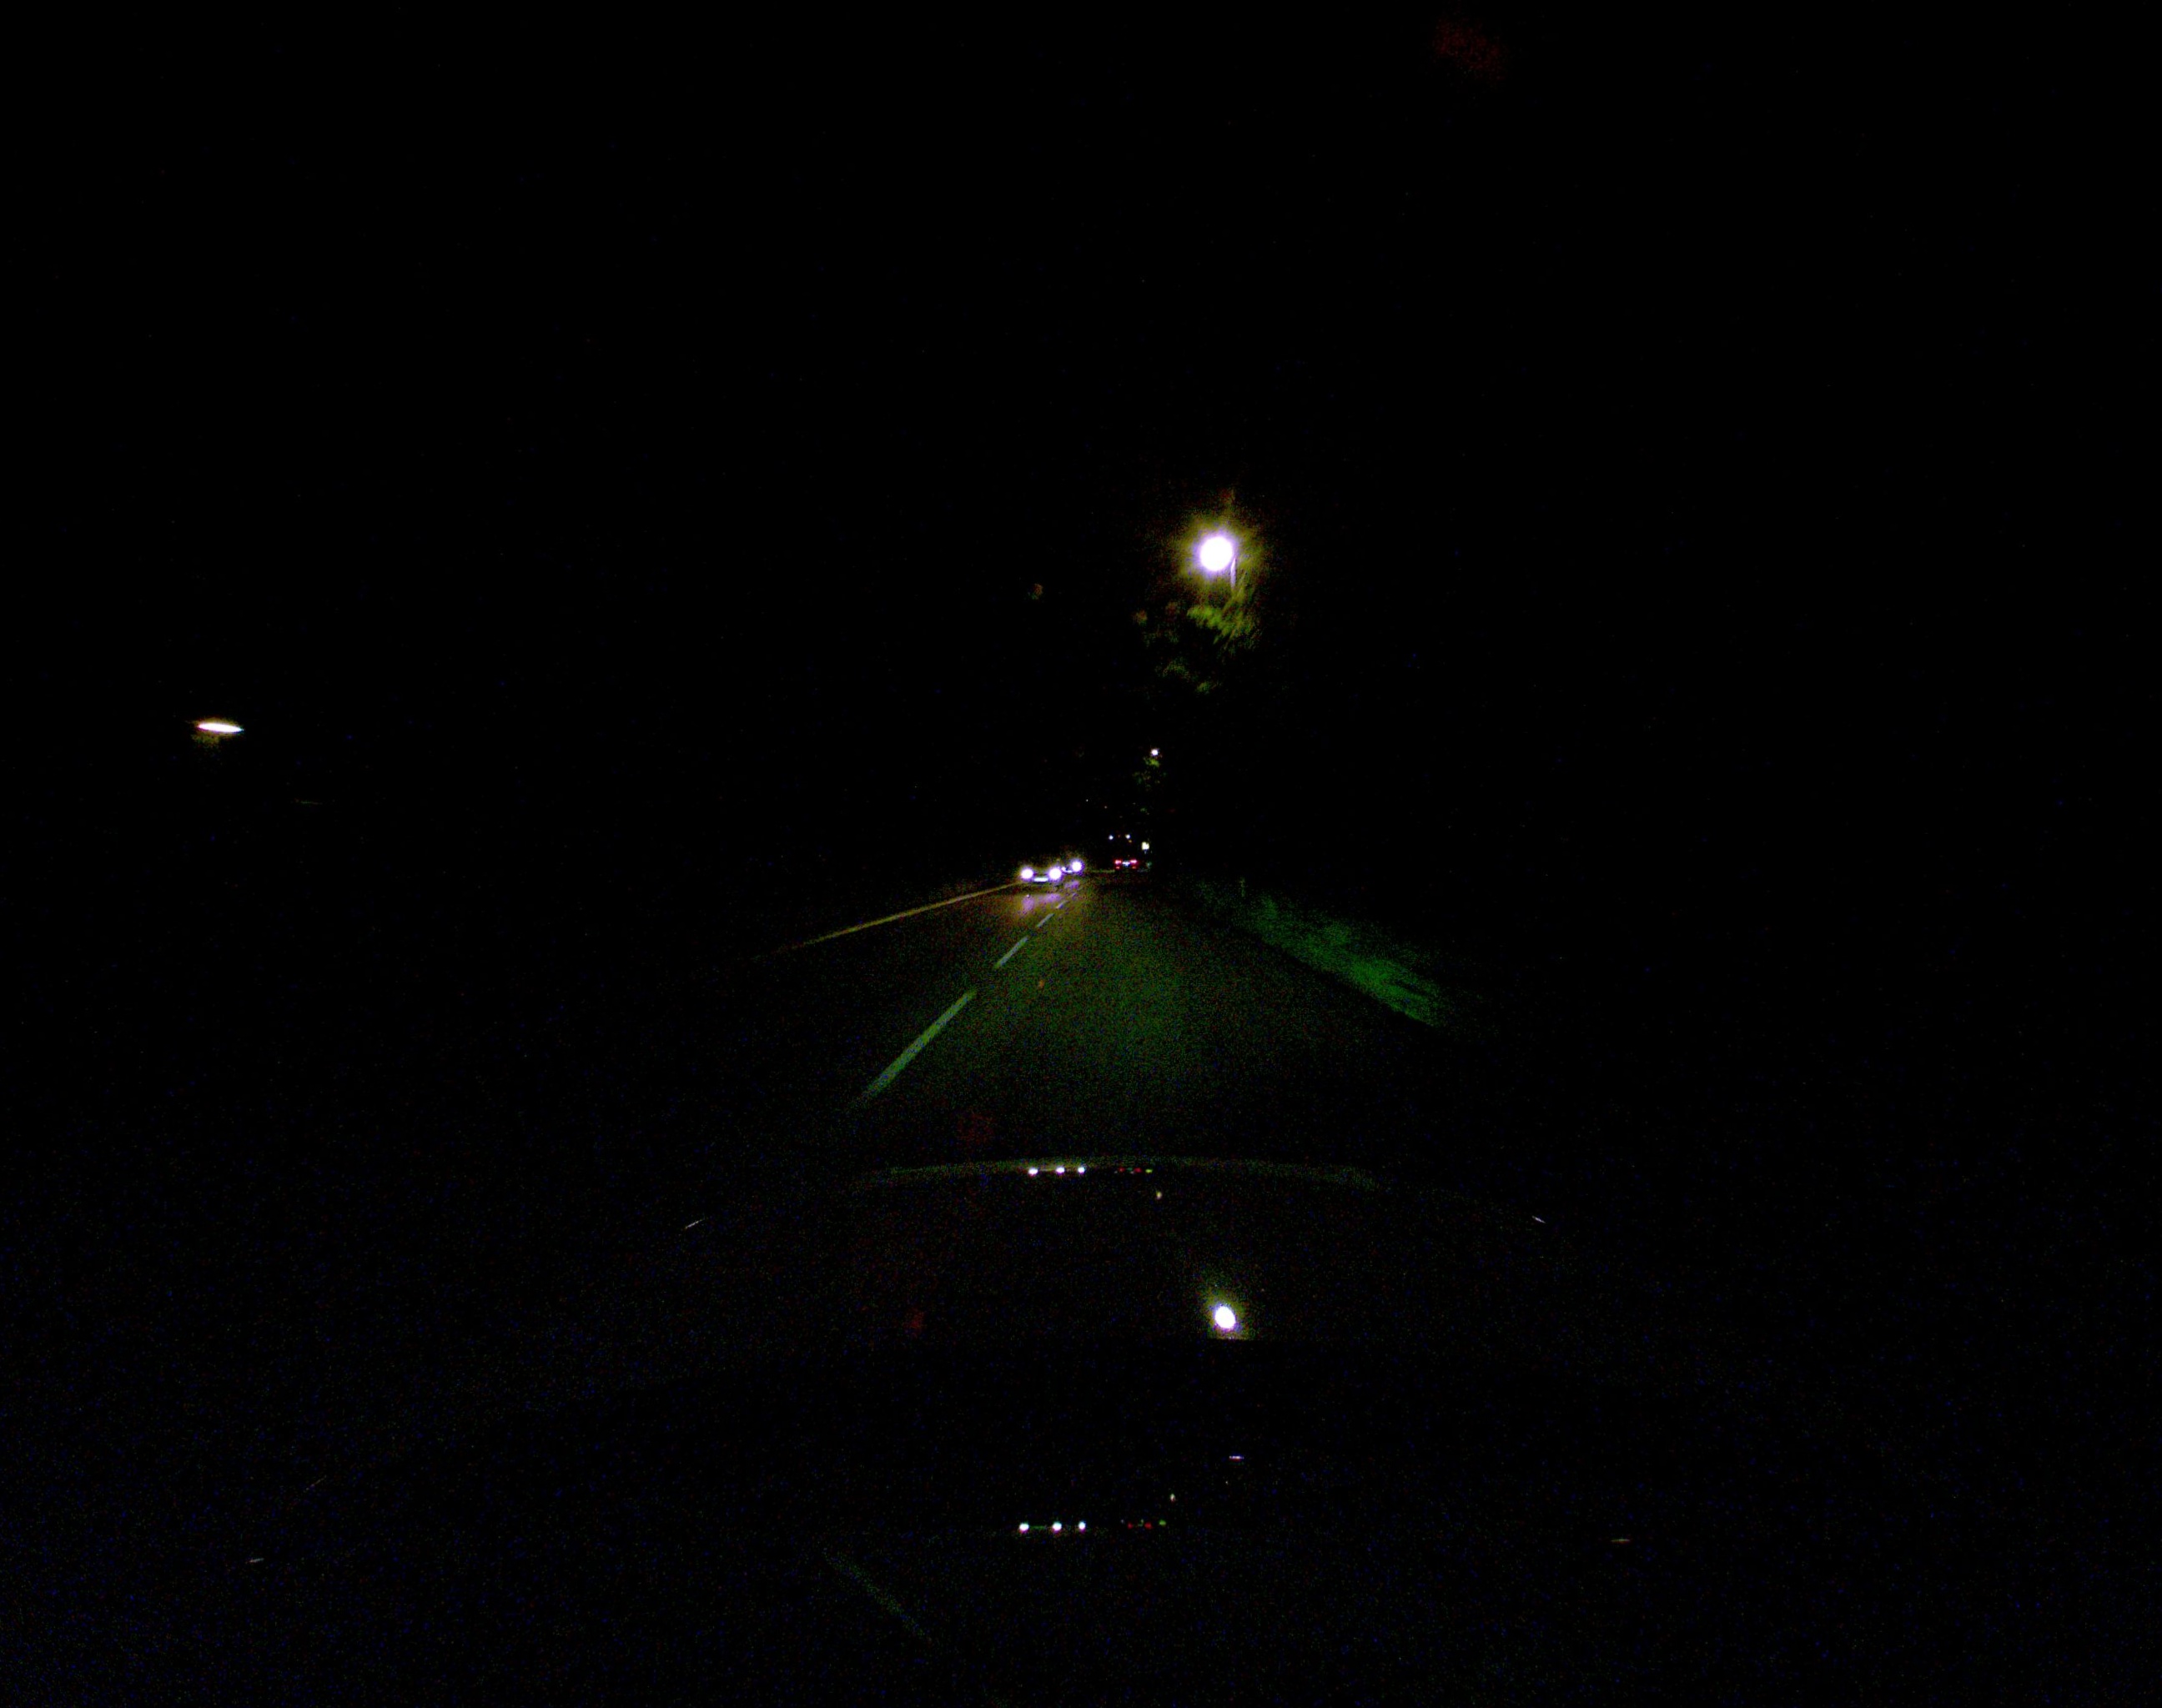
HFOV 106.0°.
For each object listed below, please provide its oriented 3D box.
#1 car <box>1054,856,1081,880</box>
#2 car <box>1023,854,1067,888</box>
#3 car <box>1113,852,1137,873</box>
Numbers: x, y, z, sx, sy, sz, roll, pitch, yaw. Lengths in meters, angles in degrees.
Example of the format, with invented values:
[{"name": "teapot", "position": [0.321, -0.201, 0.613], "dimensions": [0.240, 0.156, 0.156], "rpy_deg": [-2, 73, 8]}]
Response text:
[{"name": "car", "position": [-0.853, 0.899, 54.453], "dimensions": [1.641, 1.491, 3.558], "rpy_deg": [-1, 0, 1]}, {"name": "car", "position": [-1.611, 0.766, 37.905], "dimensions": [1.680, 1.457, 4.003], "rpy_deg": [-1, 0, 3]}, {"name": "car", "position": [3.578, 0.692, 66.690], "dimensions": [1.758, 1.642, 3.722], "rpy_deg": [-1, 0, 0]}]
